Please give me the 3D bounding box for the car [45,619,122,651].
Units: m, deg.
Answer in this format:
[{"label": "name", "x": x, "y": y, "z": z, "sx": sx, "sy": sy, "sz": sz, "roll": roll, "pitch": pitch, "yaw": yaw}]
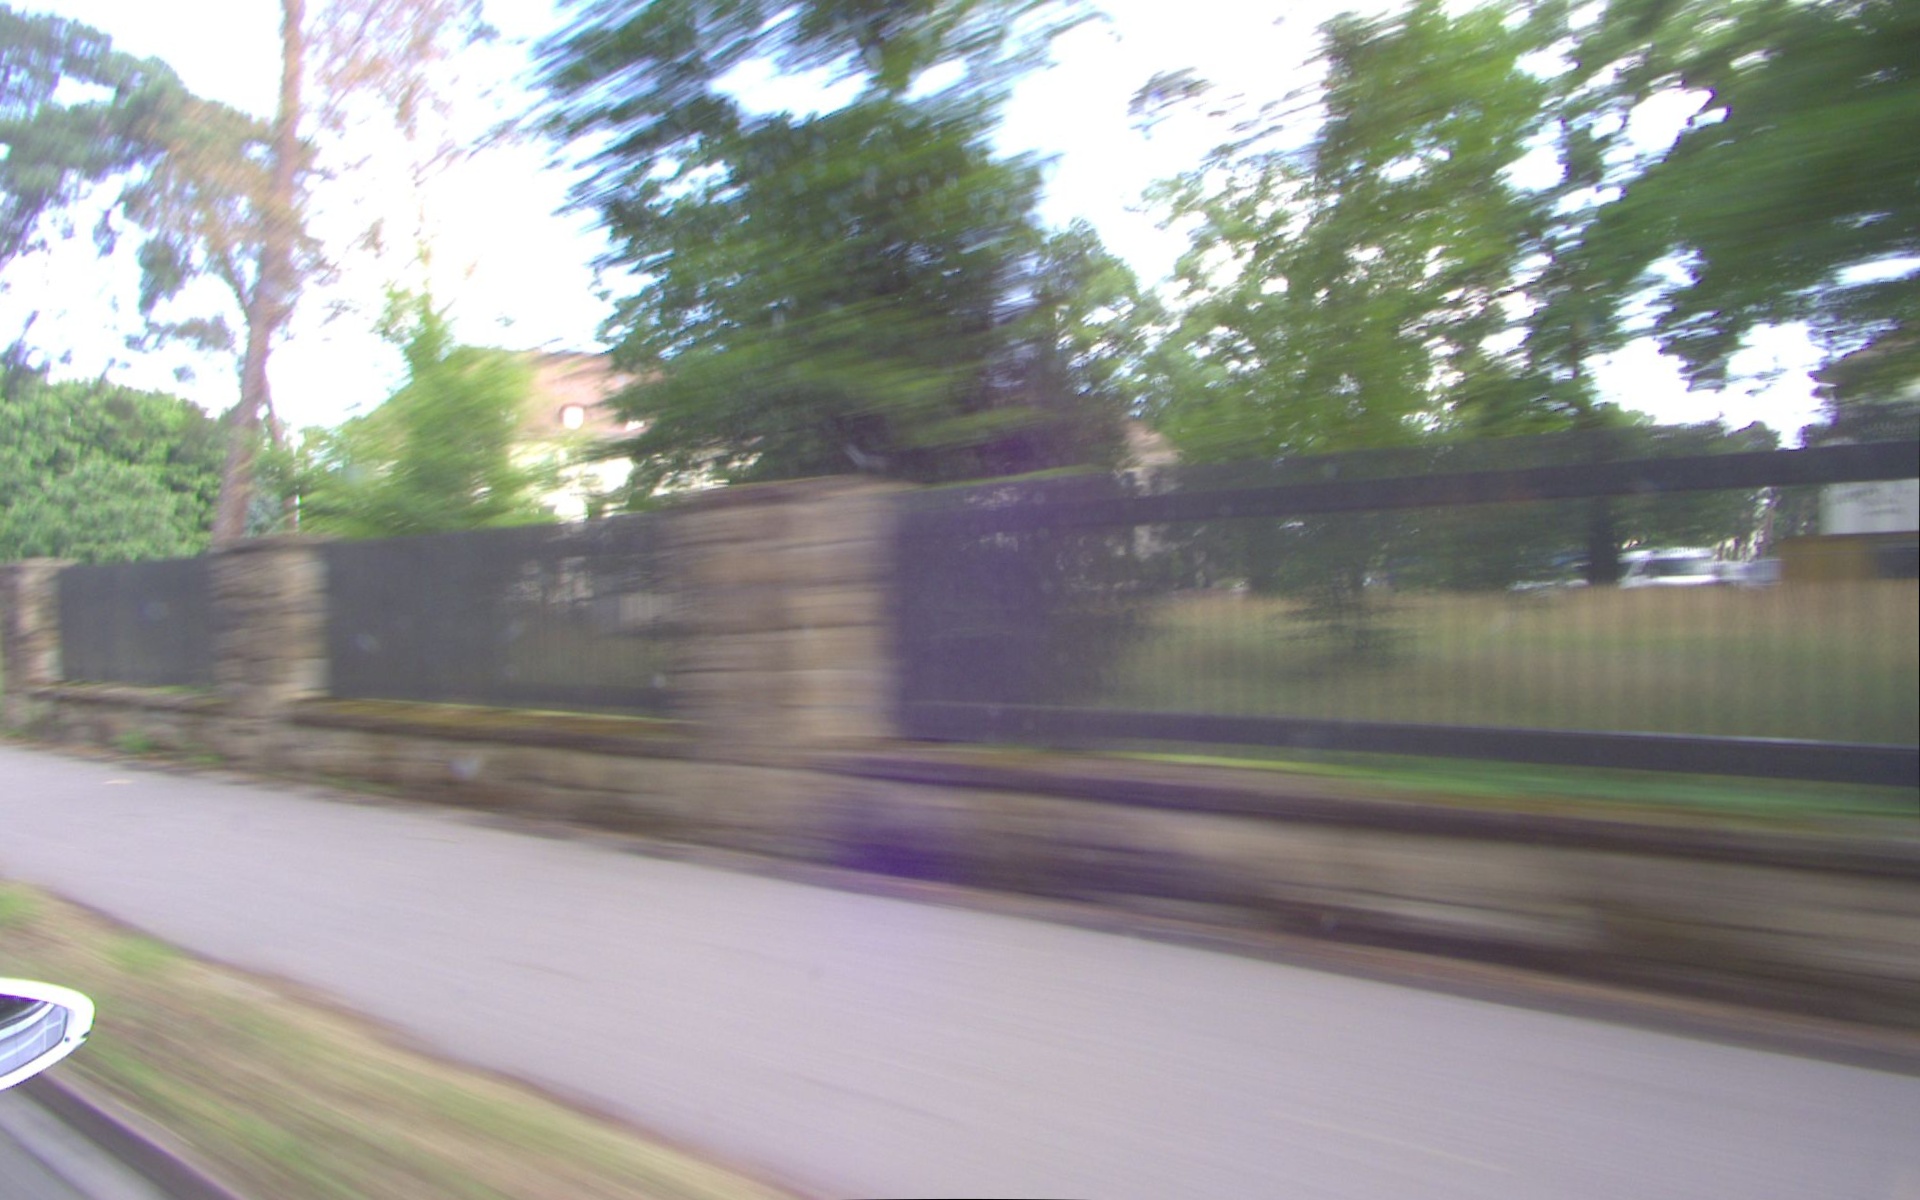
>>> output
[{"label": "car", "x": -47.479, "y": 1.842, "z": 54.350, "sx": 1.848, "sy": 1.461, "sz": 3.987, "roll": -2, "pitch": 2, "yaw": -21}]
